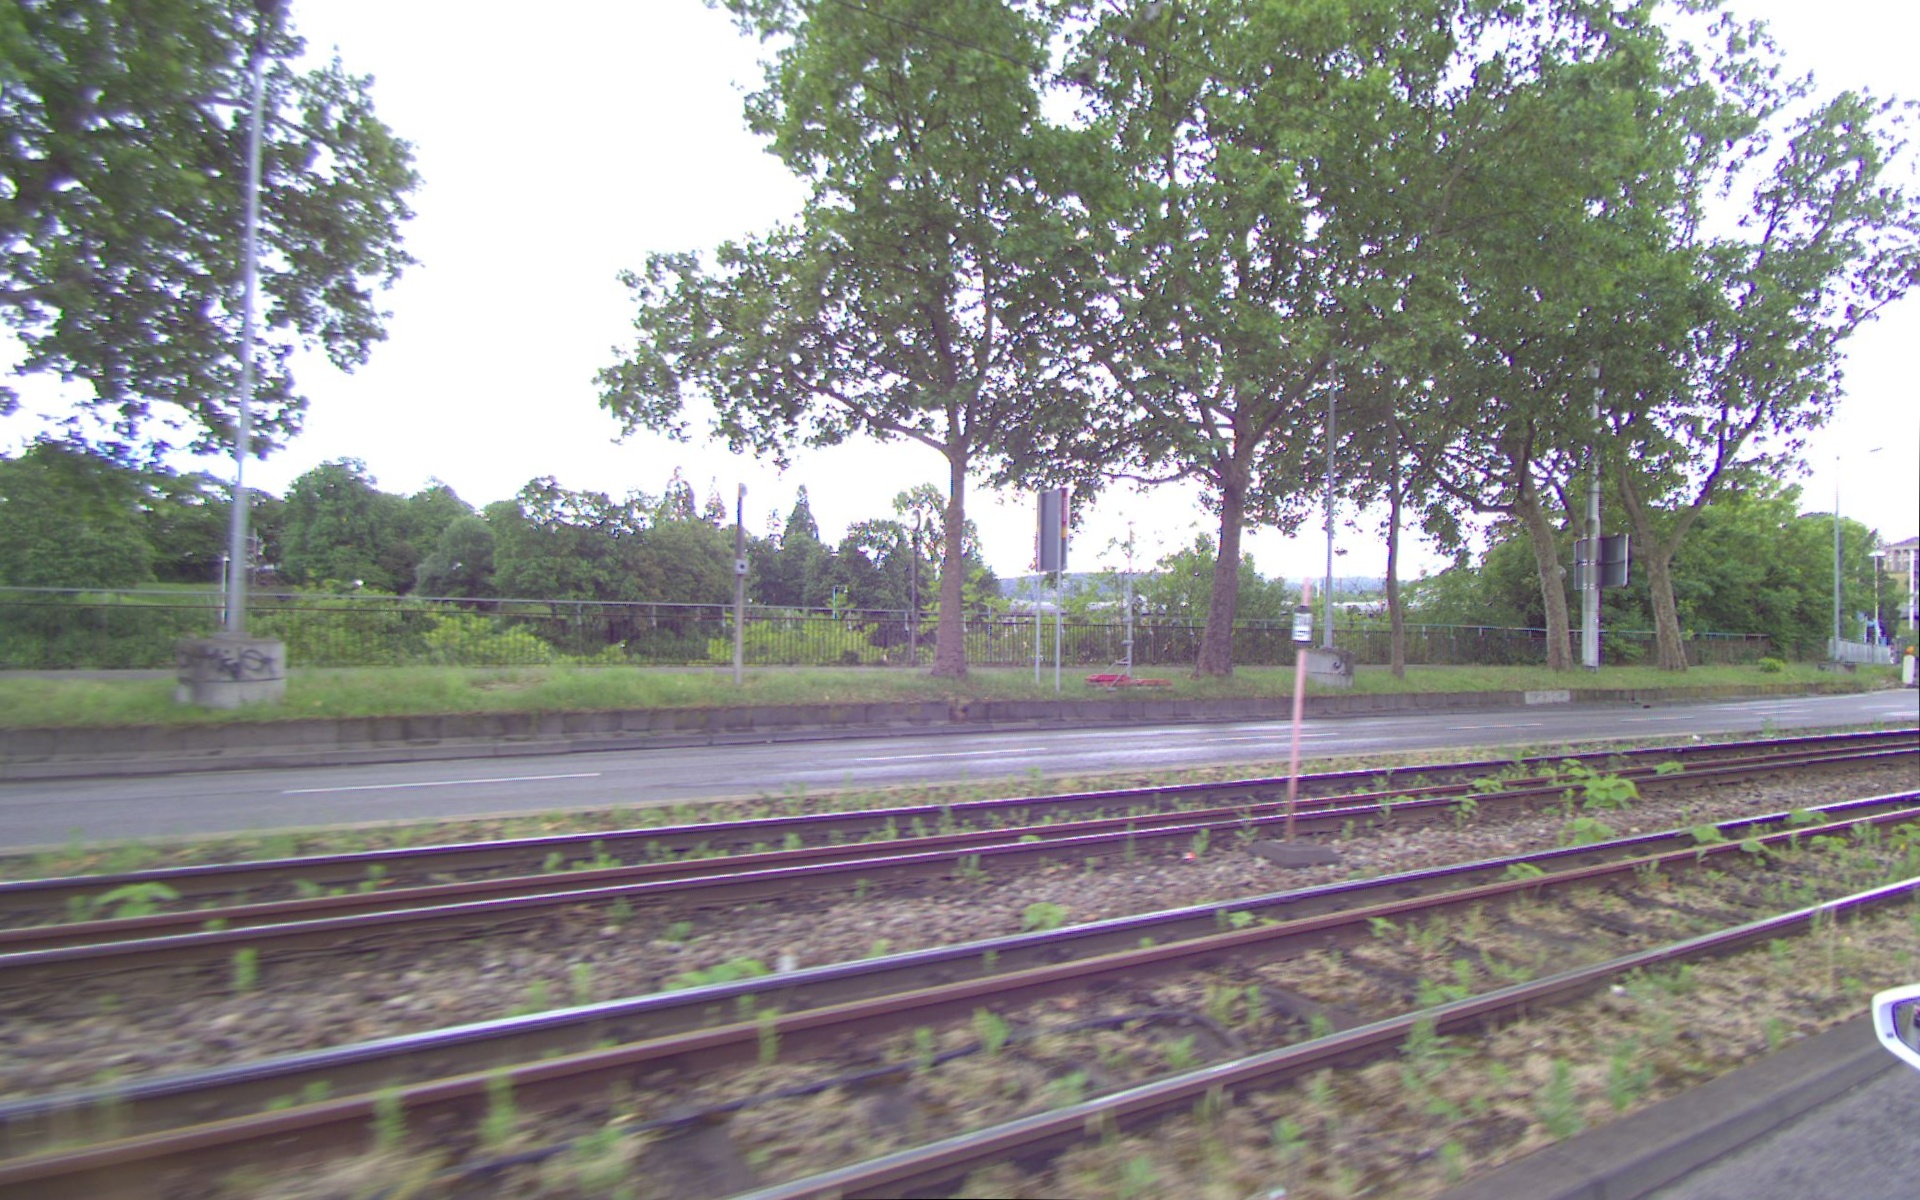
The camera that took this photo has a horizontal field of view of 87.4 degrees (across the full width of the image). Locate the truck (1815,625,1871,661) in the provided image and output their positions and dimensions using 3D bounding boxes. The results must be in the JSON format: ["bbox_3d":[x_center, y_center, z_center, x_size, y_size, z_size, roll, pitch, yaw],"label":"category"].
[{"bbox_3d":[86.201,4.226,98.215,2.754,3.379,8.457,-2,-3,33],"label":"truck"}]
